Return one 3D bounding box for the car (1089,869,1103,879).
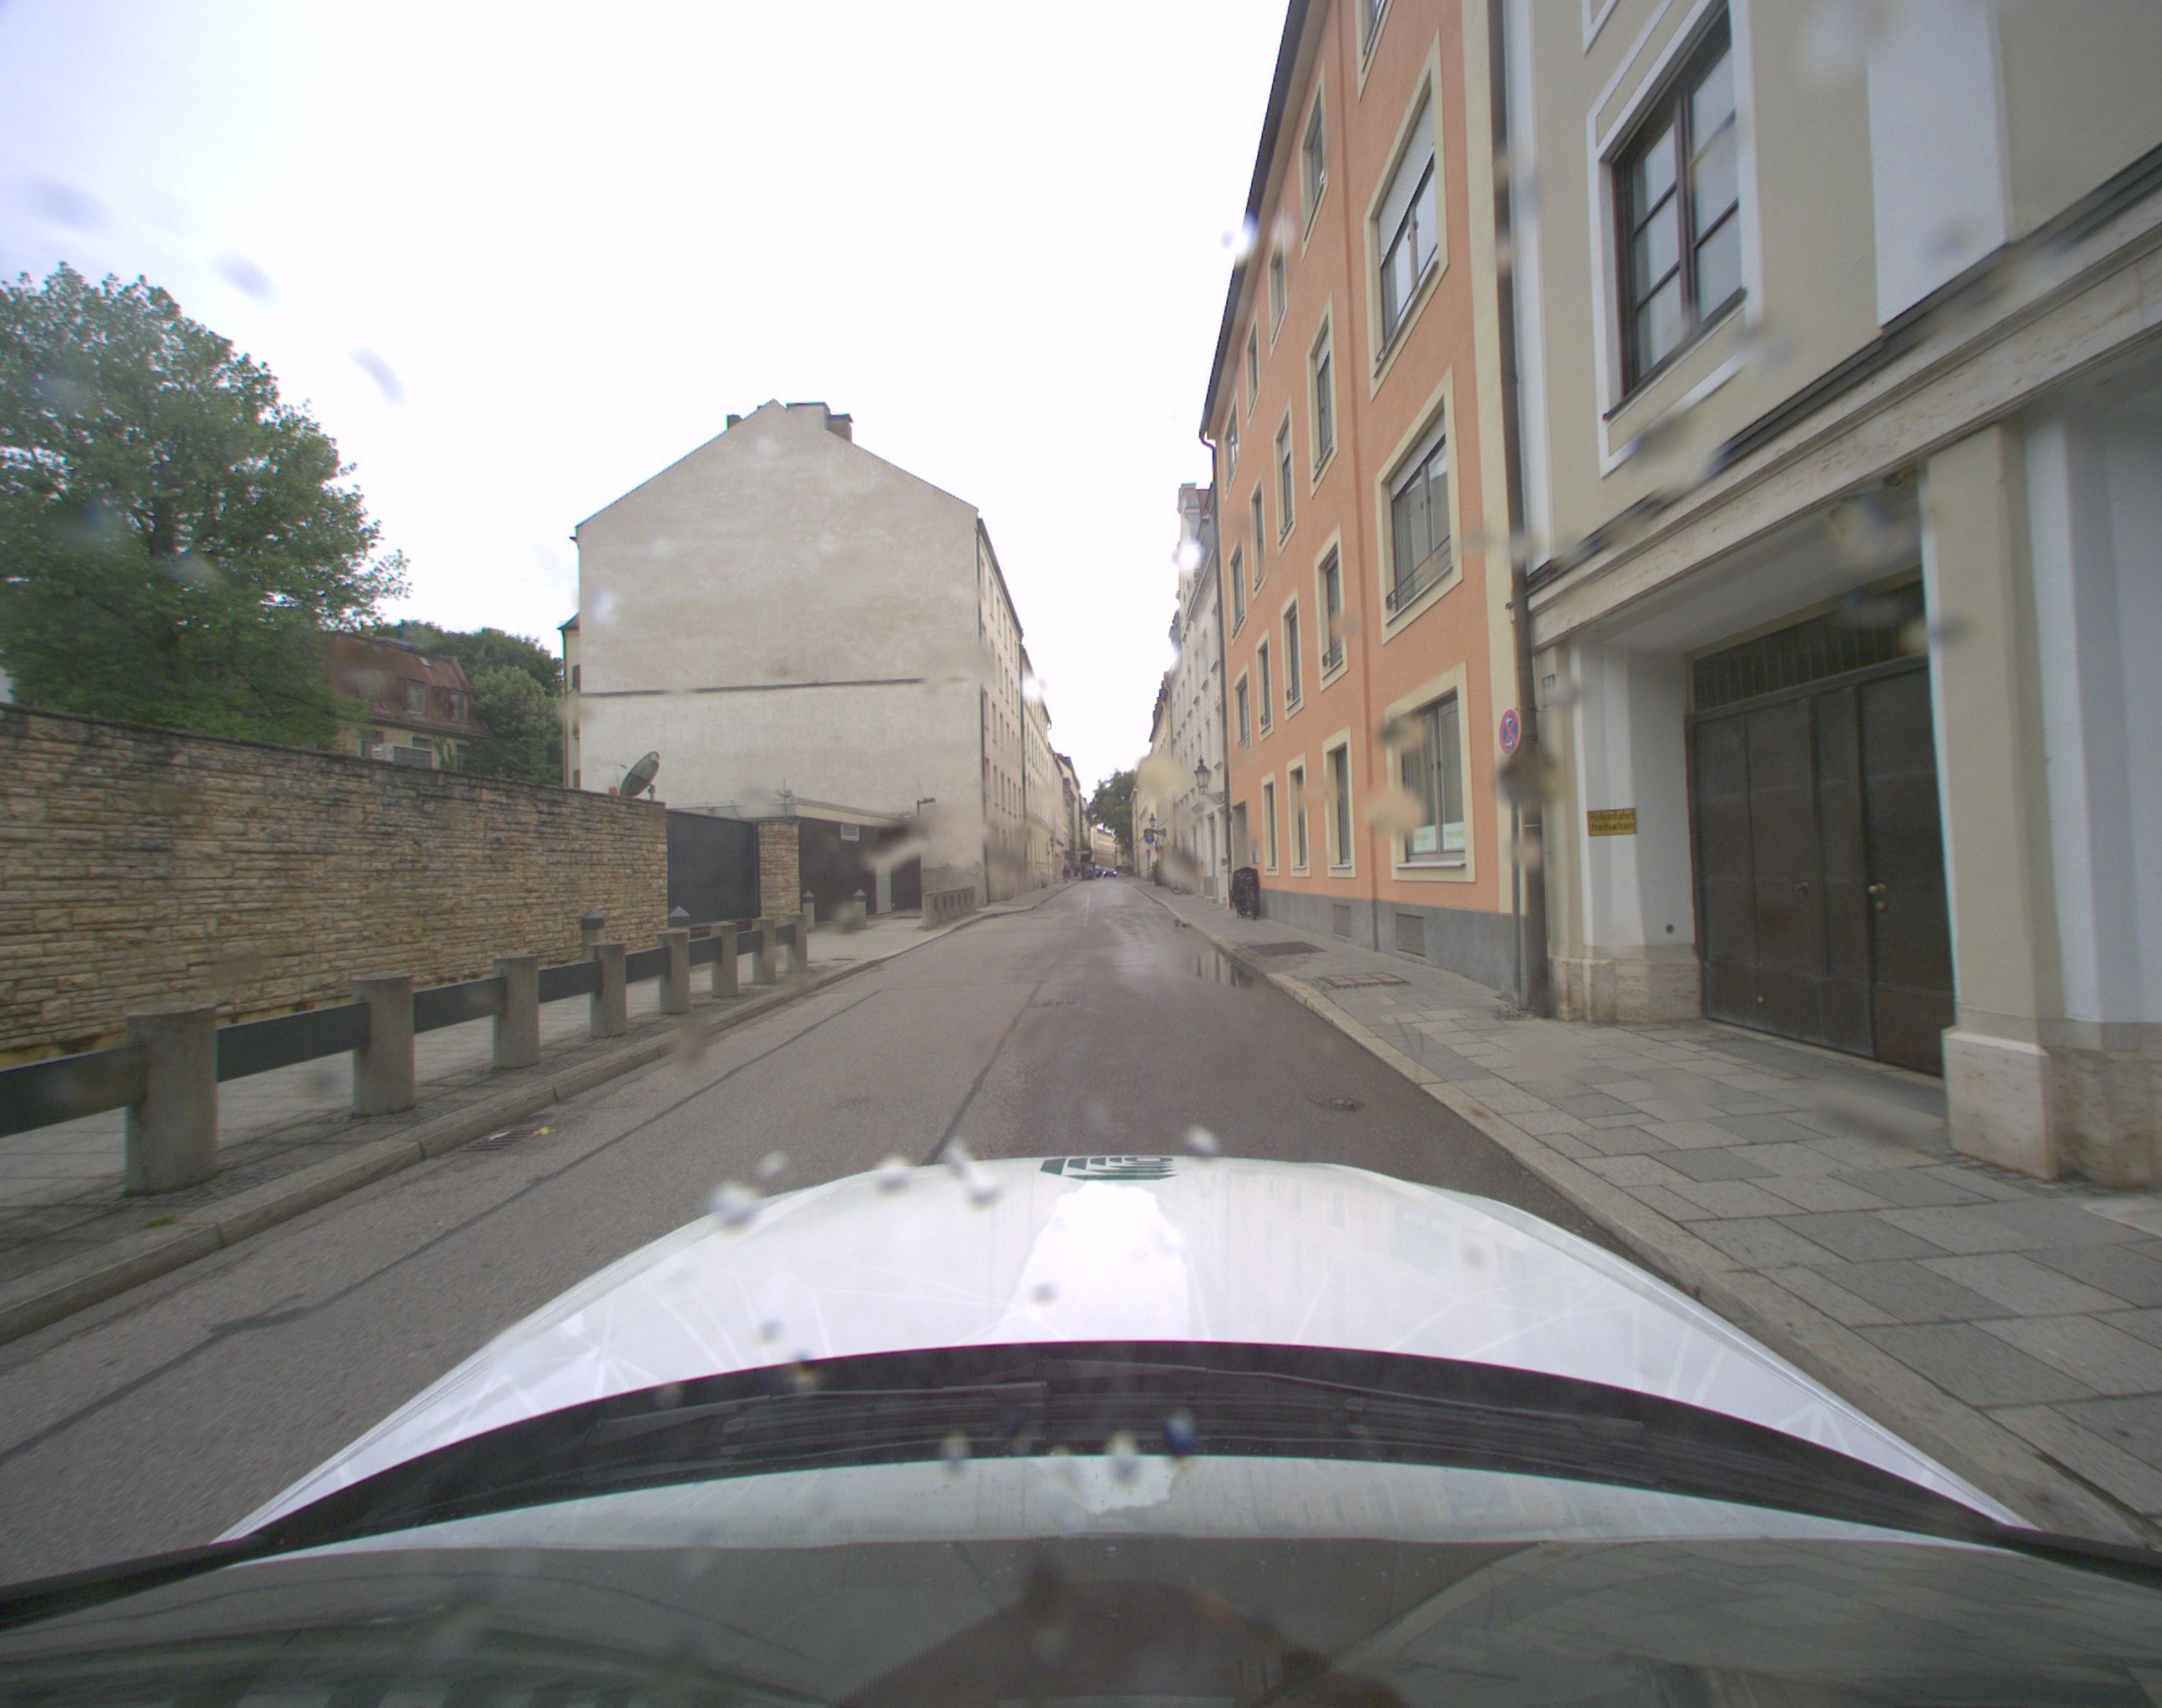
[{"bbox_3d":[2.248,2.894,119.394,1.771,1.467,3.667,-1,-1,5],"label":"car"}]

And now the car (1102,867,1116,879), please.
[{"bbox_3d":[3.890,2.674,113.457,1.806,1.594,4.000,-2,-1,1],"label":"car"}]

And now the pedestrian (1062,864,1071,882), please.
[{"bbox_3d":[-1.385,1.813,78.141,0.763,1.708,0.785,-2,-1,-1],"label":"pedestrian"}]

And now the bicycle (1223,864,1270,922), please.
[{"bbox_3d":[4.011,0.905,19.899,0.676,1.240,2.384,-6,-1,4],"label":"bicycle"}]

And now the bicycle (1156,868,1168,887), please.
[{"bbox_3d":[4.981,1.426,50.139,0.563,1.137,1.685,-4,-1,3],"label":"bicycle"}]

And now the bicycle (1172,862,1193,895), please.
[{"bbox_3d":[4.584,1.082,36.840,0.710,1.396,2.124,-4,-1,4],"label":"bicycle"}]

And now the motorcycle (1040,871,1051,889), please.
[{"bbox_3d":[-2.448,1.766,56.157,0.599,1.174,1.709,-1,-1,2],"label":"motorcycle"}]

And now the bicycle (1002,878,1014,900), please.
[{"bbox_3d":[-3.384,1.620,37.956,0.318,0.944,1.575,1,-1,4],"label":"bicycle"}]

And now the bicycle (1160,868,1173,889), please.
[{"bbox_3d":[5.027,1.427,47.851,0.563,1.137,1.989,-4,-1,3],"label":"bicycle"}]

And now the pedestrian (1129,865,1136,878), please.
[{"bbox_3d":[7.077,2.412,111.910,0.877,1.802,1.047,-1,-1,2],"label":"pedestrian"}]
